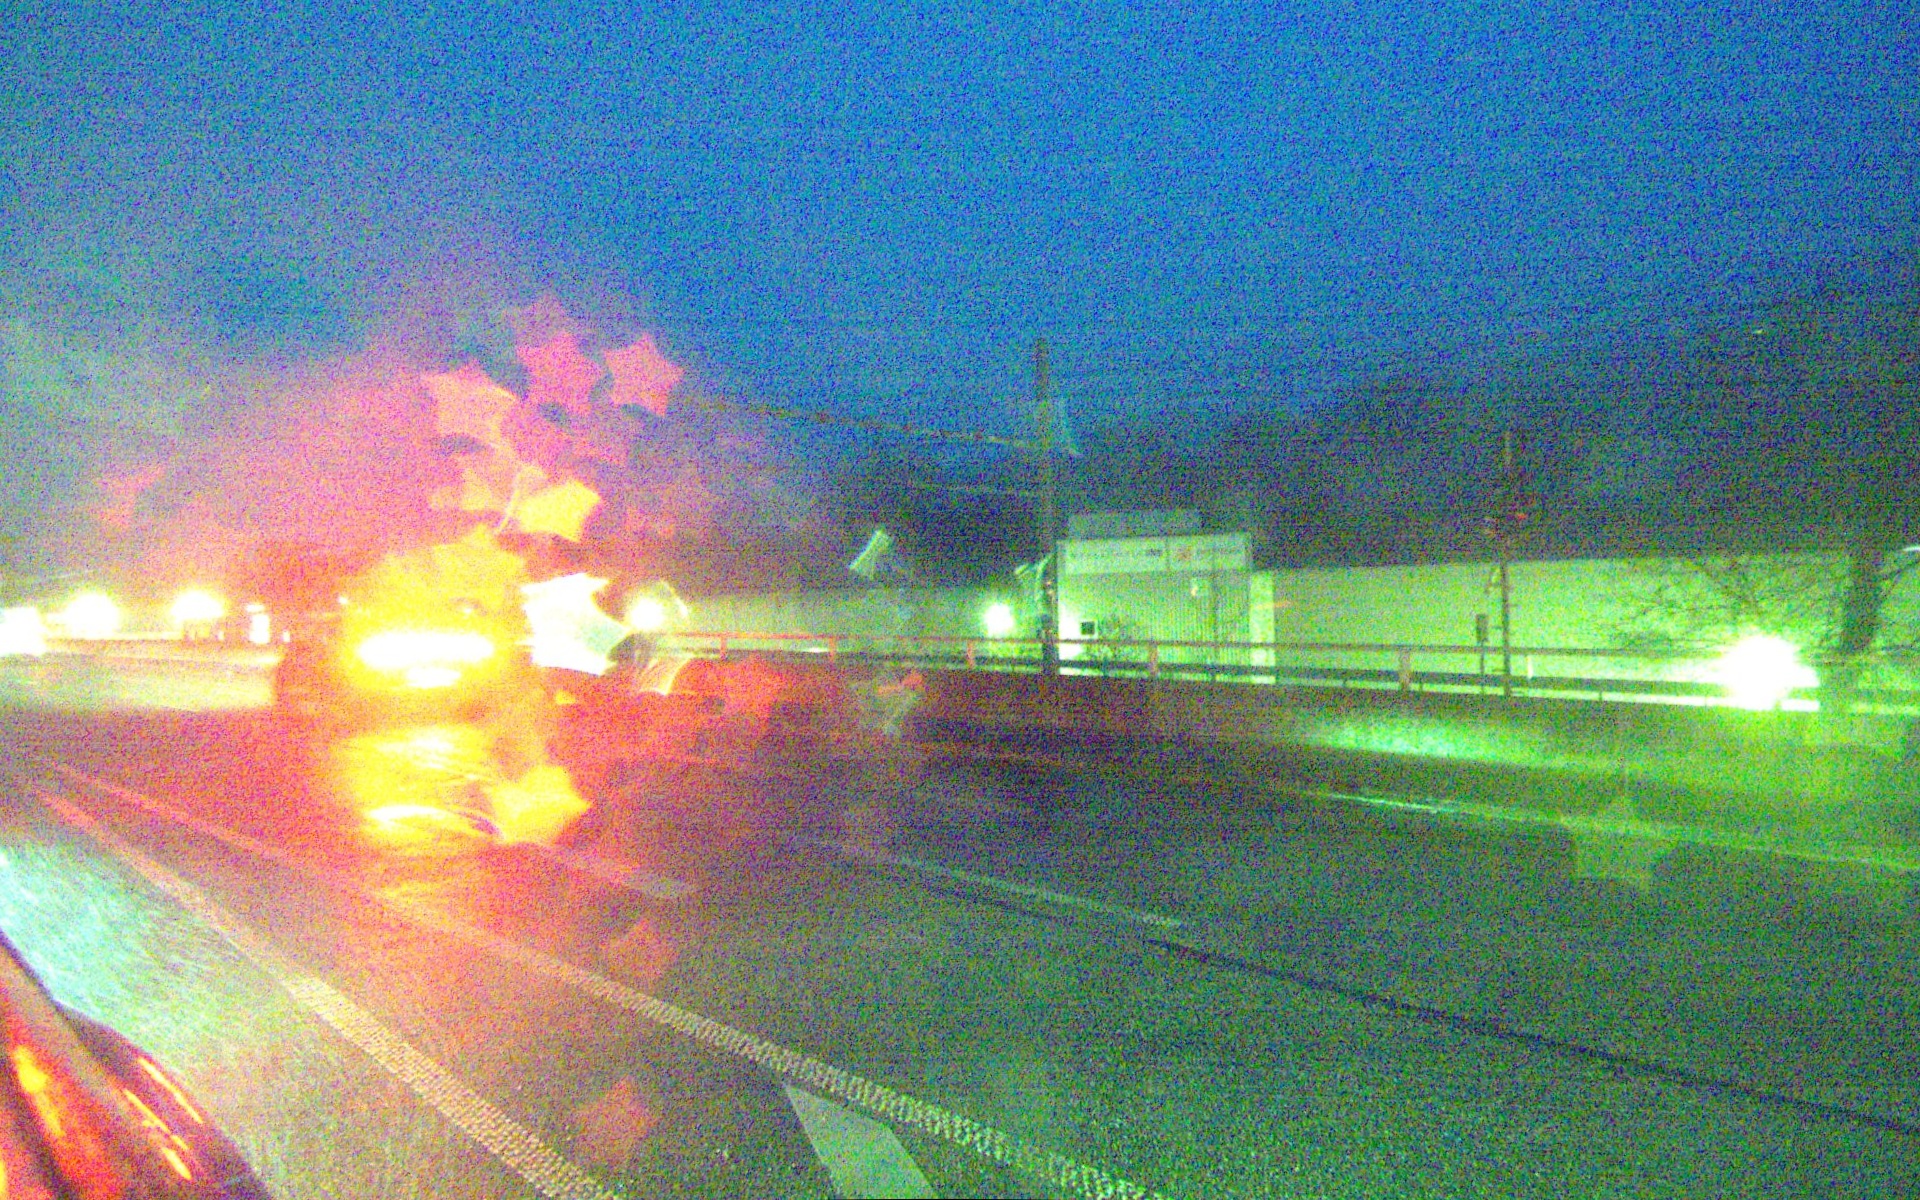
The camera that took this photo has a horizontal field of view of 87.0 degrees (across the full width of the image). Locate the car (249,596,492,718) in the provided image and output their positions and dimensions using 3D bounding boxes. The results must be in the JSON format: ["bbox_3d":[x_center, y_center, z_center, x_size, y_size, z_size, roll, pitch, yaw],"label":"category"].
[{"bbox_3d":[-9.007,0.831,15.301,4.483,1.580,1.868,-3,-2,41],"label":"car"}]

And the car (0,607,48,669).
[{"bbox_3d":[-32.970,1.287,34.409,4.705,2.029,2.066,-1,-1,37],"label":"car"}]
